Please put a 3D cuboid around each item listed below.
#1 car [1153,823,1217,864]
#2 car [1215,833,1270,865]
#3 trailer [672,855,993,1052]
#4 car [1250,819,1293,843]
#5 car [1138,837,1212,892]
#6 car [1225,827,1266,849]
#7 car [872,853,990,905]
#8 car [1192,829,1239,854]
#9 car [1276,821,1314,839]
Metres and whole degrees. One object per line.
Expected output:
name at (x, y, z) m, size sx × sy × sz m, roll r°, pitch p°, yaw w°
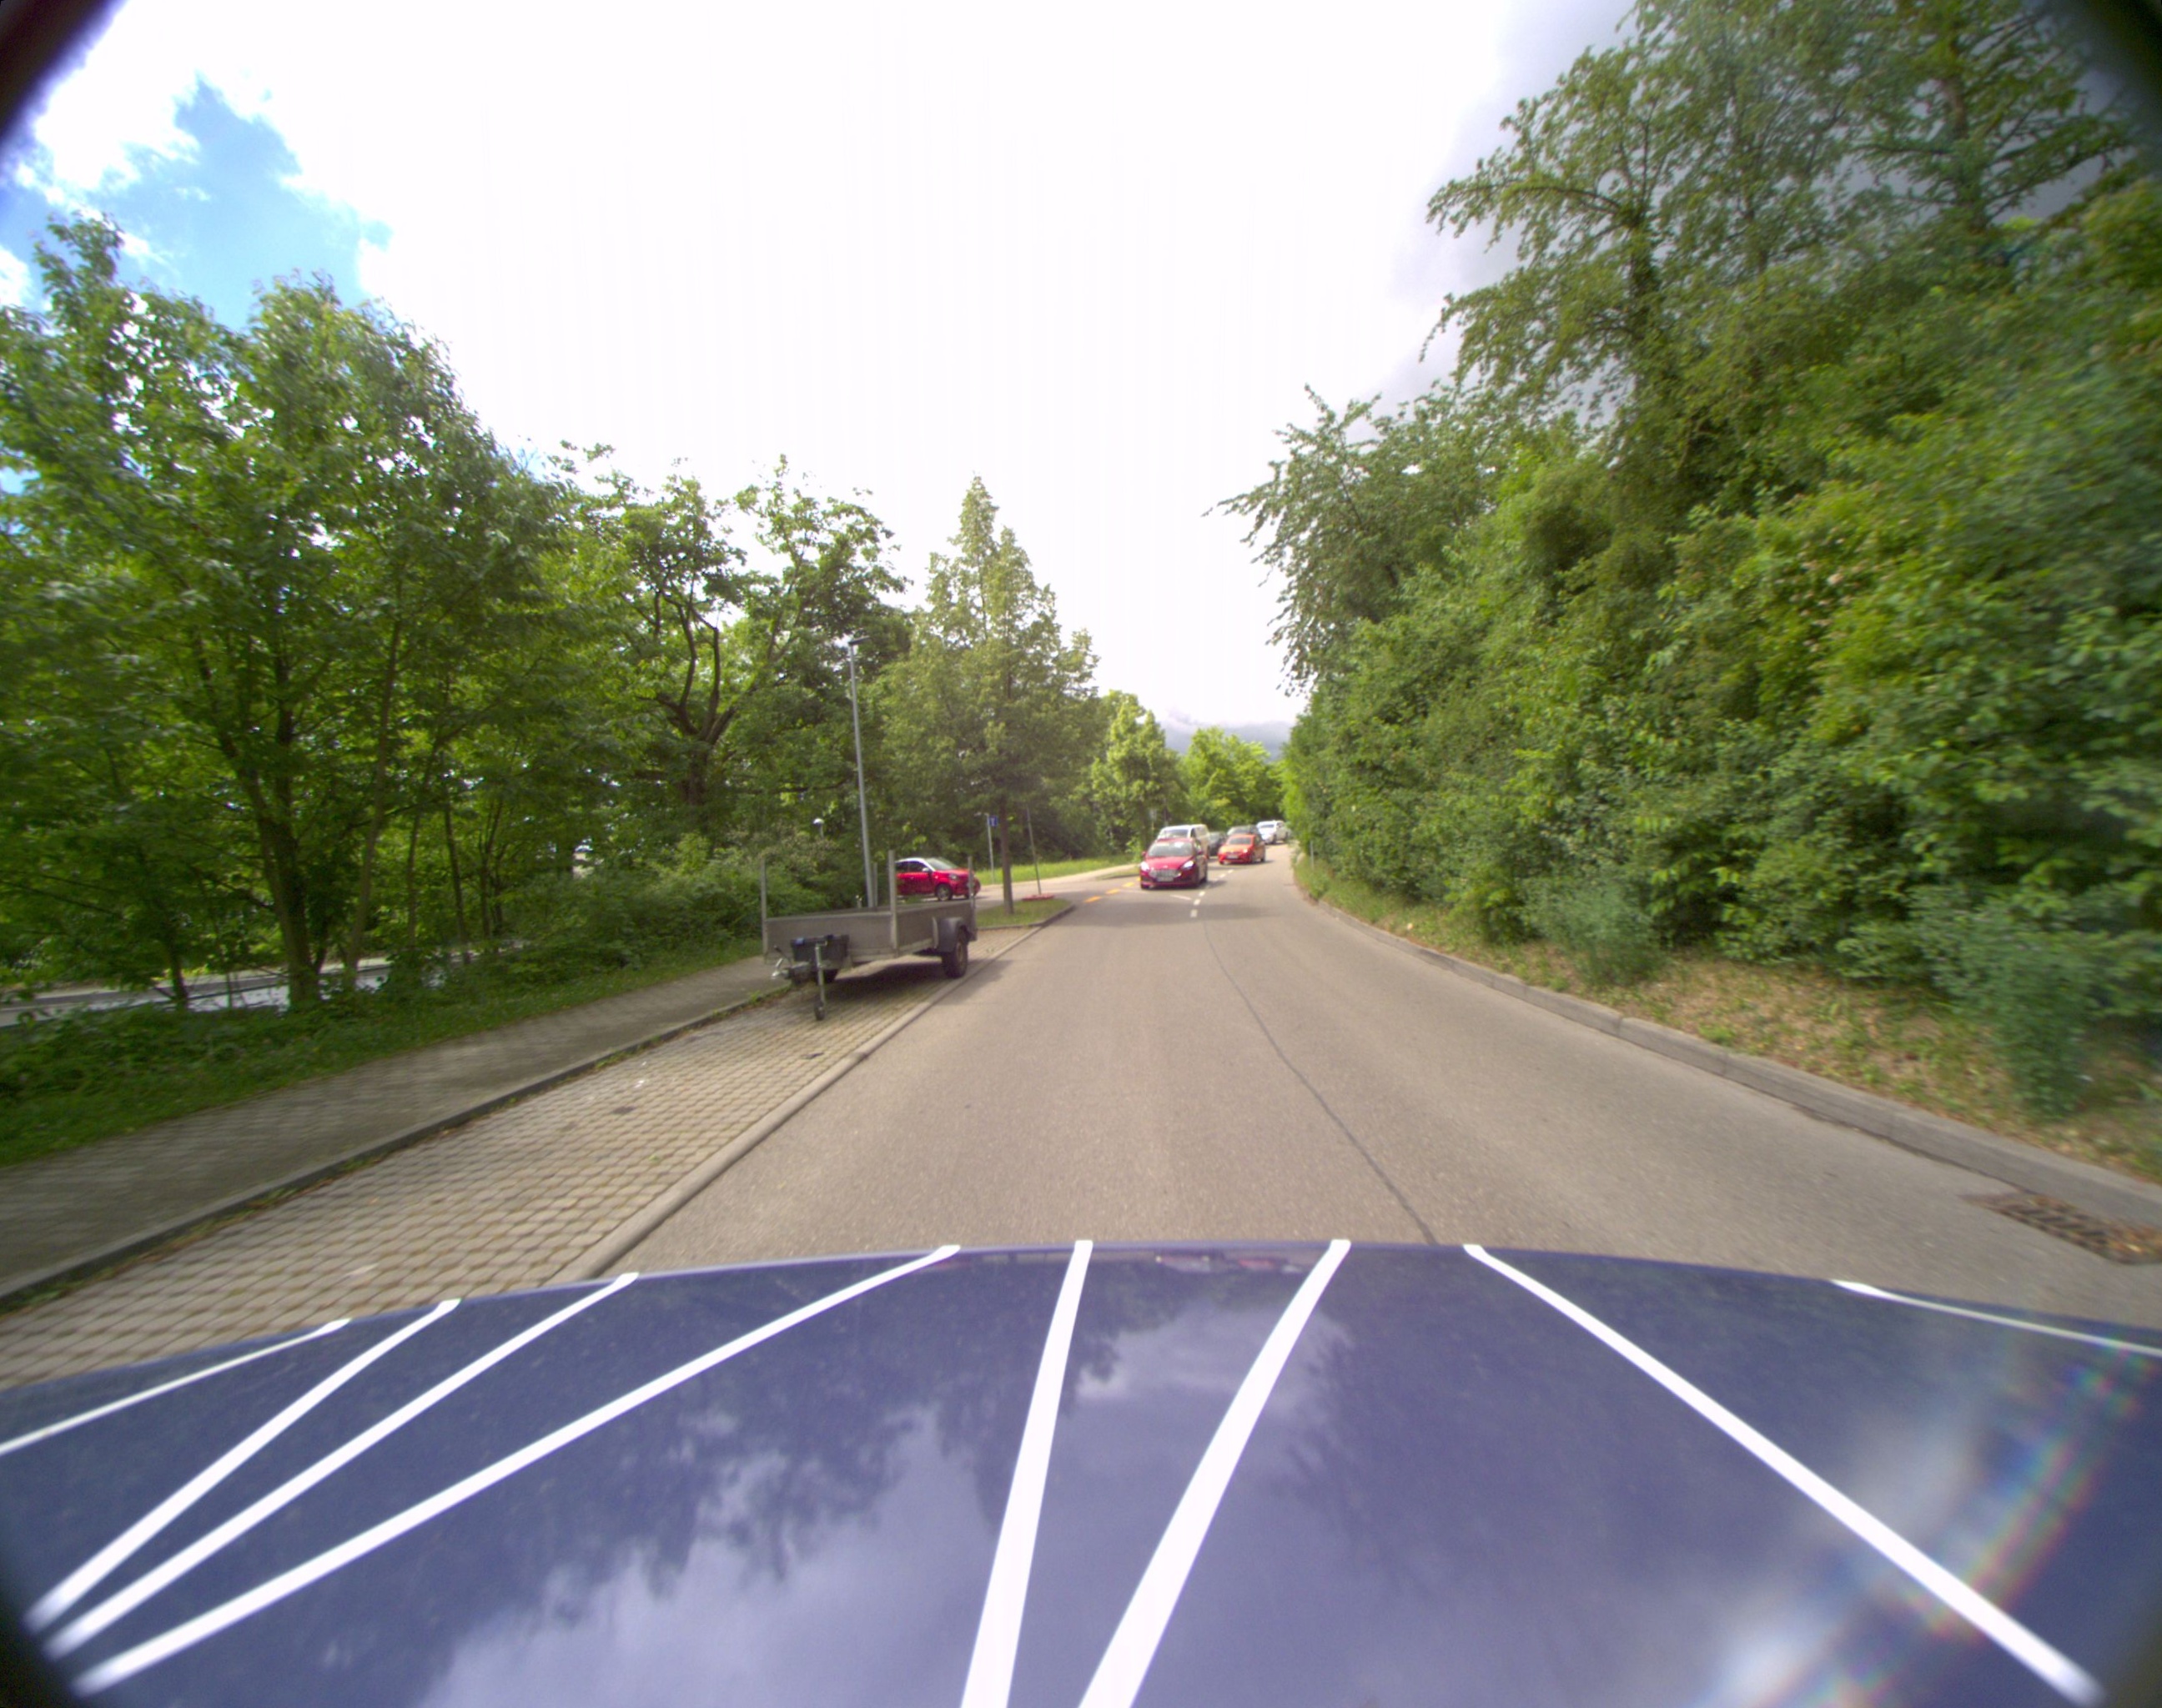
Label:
car at (5.759, -0.643, 41.368) m, size 1.867 × 2.047 × 5.434 m, roll -2°, pitch 2°, yaw 25°
car at (8.356, -0.289, 39.001) m, size 1.792 × 1.405 × 4.118 m, roll -1°, pitch 3°, yaw 26°
trailer at (-2.410, 0.876, 8.770) m, size 1.814 × 1.570 × 4.491 m, roll -2°, pitch 1°, yaw 5°
car at (14.445, -1.759, 57.505) m, size 1.792 × 1.704 × 4.112 m, roll -1°, pitch 2°, yaw 34°
car at (3.306, 0.280, 26.024) m, size 1.910 × 1.689 × 4.390 m, roll -1°, pitch 1°, yaw 15°
car at (11.290, -1.125, 52.004) m, size 1.793 × 1.405 × 4.111 m, roll -2°, pitch 2°, yaw 25°
car at (-5.082, 0.855, 25.767) m, size 3.480 × 1.509 × 1.654 m, roll -3°, pitch 2°, yaw 25°
car at (8.331, -0.779, 46.766) m, size 1.793 × 1.405 × 4.111 m, roll -2°, pitch 2°, yaw 25°
car at (17.767, -2.005, 63.067) m, size 1.792 × 1.374 × 4.112 m, roll -1°, pitch 2°, yaw 34°
